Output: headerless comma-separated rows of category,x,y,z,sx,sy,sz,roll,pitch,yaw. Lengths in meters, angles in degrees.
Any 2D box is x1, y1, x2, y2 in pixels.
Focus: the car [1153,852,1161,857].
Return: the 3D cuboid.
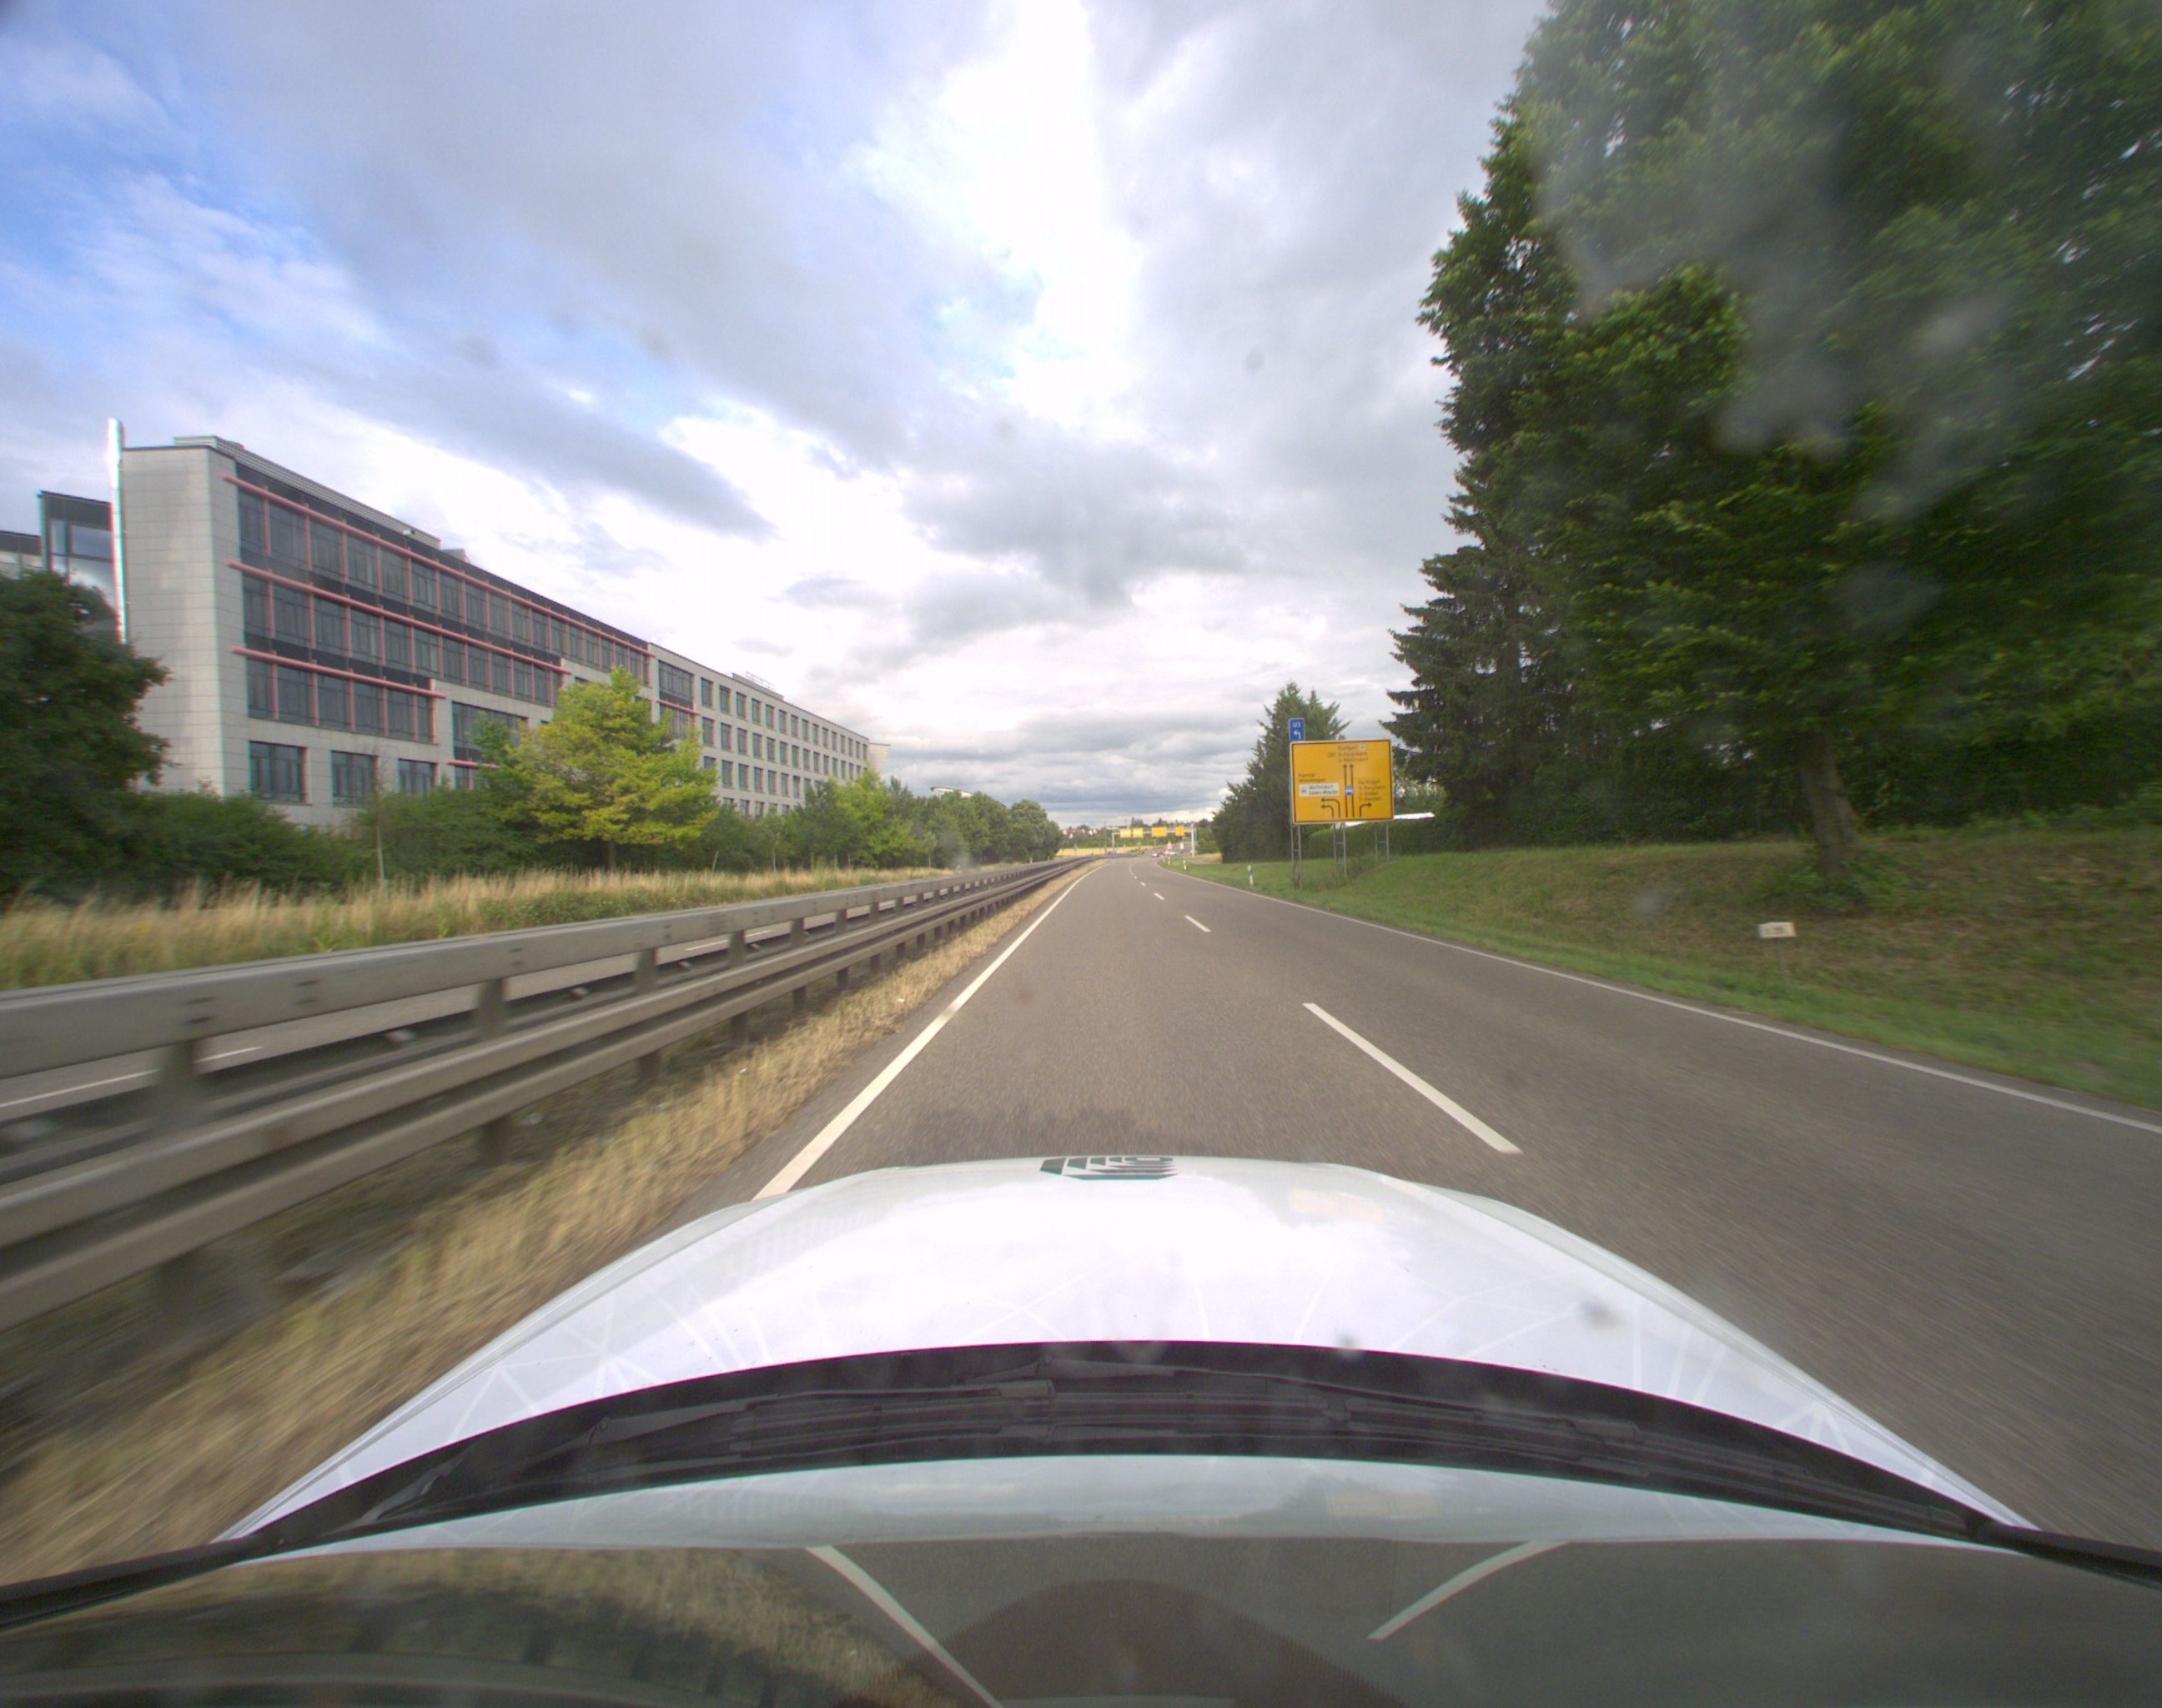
car,23.173,0.188,249.172,1.784,1.556,4.017,-1,0,16
